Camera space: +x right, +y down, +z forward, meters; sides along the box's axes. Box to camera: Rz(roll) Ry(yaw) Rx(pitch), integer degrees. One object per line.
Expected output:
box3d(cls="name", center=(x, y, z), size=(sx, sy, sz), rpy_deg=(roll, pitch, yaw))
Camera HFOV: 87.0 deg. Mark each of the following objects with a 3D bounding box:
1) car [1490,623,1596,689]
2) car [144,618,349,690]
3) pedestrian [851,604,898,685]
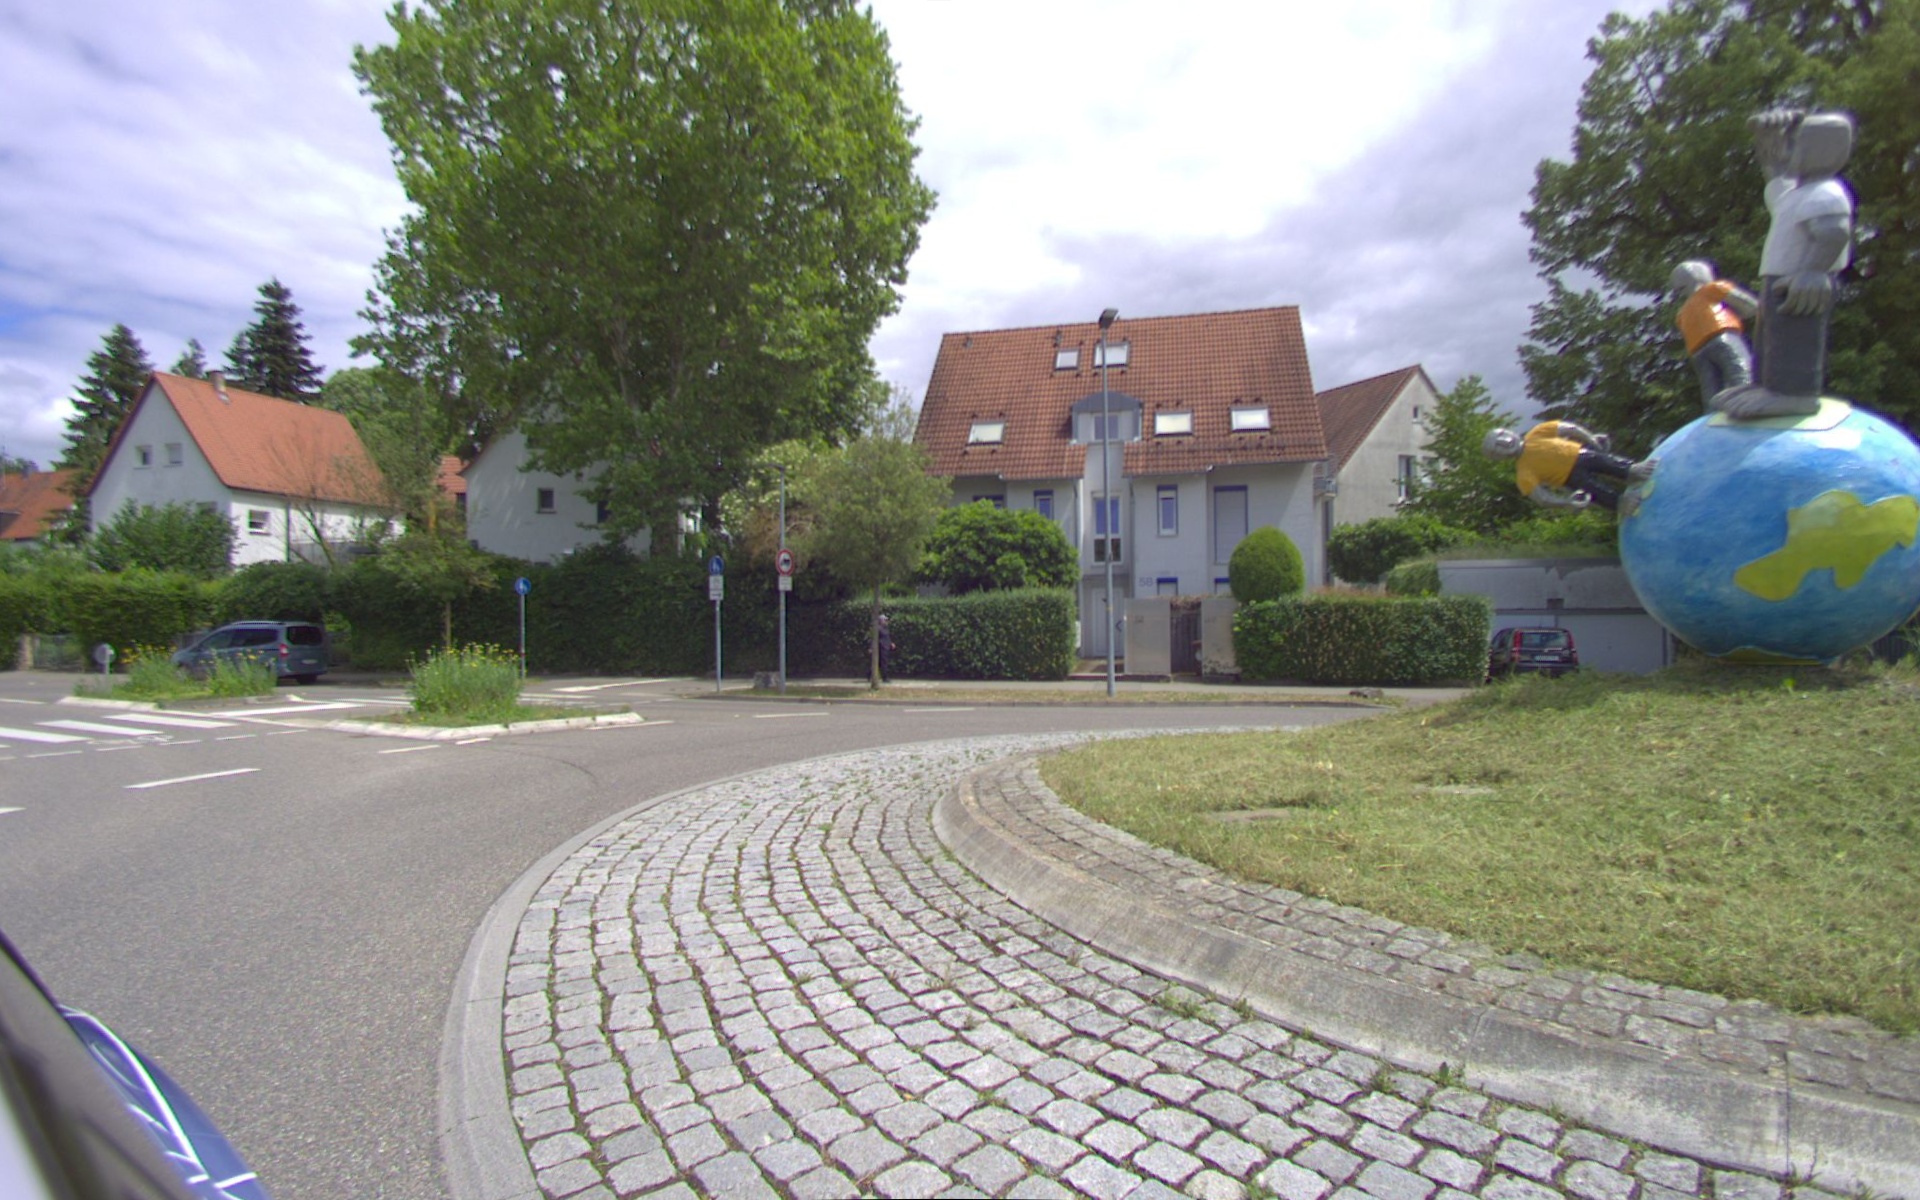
box3d(cls="car", center=(14.545, 1.371, 25.446), size=(1.989, 1.497, 3.964), rpy_deg=(-2, -3, 26))
box3d(cls="car", center=(-19.945, 1.486, 28.390), size=(4.411, 1.786, 2.134), rpy_deg=(-1, 0, 7))
box3d(cls="pedestrian", center=(-2.189, 1.141, 26.033), size=(1.029, 2.029, 0.872), rpy_deg=(-1, -2, 10))
